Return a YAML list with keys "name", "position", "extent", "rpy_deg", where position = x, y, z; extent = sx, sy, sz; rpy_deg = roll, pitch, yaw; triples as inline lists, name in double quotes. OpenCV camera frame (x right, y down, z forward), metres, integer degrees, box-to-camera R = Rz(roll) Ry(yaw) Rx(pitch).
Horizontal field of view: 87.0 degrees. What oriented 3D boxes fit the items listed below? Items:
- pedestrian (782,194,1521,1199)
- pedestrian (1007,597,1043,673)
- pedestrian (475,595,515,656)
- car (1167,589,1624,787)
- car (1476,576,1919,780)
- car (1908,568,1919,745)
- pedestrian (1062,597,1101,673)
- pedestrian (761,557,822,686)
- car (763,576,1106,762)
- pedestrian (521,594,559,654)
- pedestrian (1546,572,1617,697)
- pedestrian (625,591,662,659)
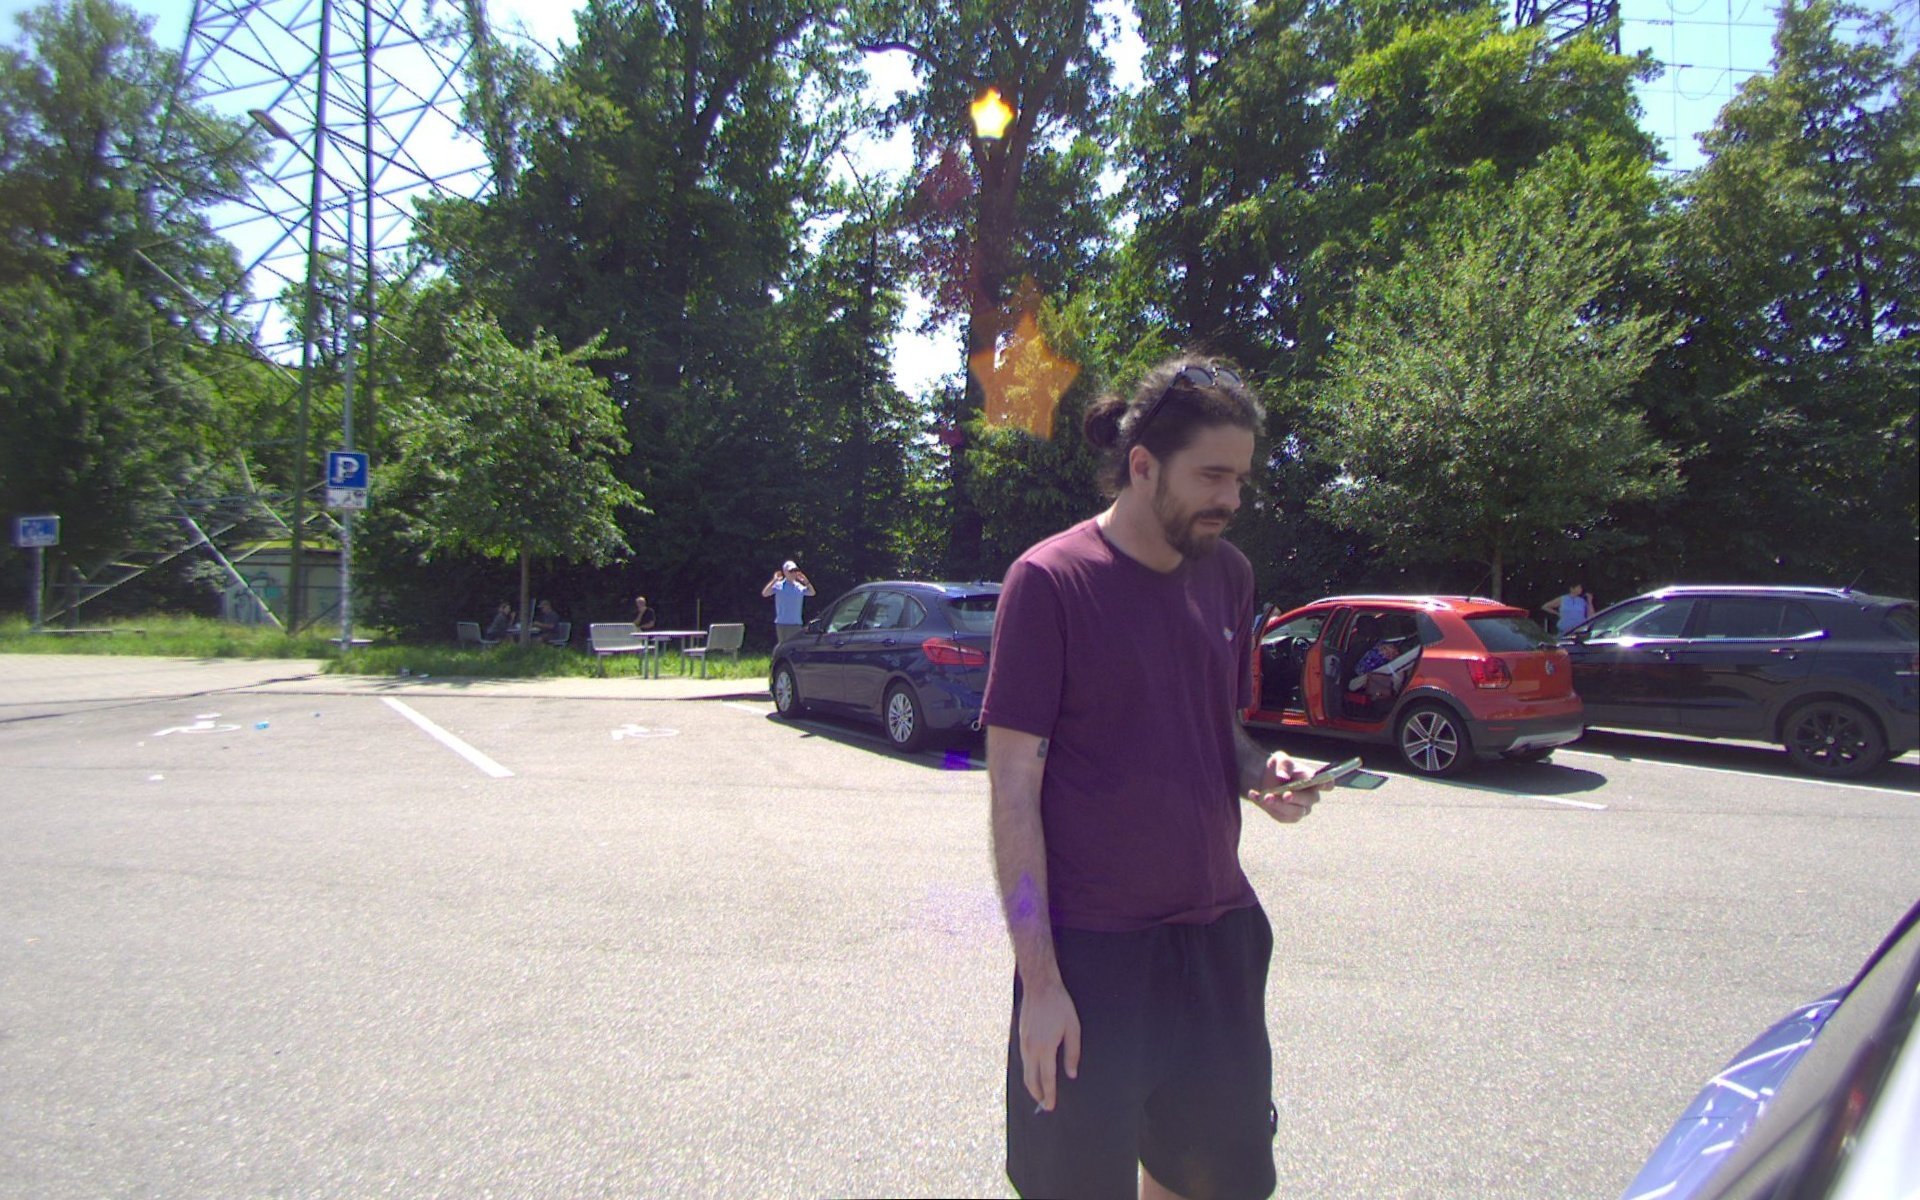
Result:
- name: "pedestrian"
  position: [0.273, 0.485, 1.684]
  extent: [0.845, 1.857, 0.865]
  rpy_deg: [0, 0, -33]
- name: "pedestrian"
  position: [1.091, 0.587, 17.078]
  extent: [0.576, 1.251, 0.697]
  rpy_deg: [0, -1, 1]
- name: "pedestrian"
  position: [-10.494, 0.558, 22.838]
  extent: [0.687, 1.352, 0.563]
  rpy_deg: [0, 0, -40]
- name: "car"
  position: [3.876, 0.647, 9.590]
  extent: [1.559, 1.467, 3.737]
  rpy_deg: [1, 0, -33]
- name: "car"
  position: [7.242, 0.597, 9.705]
  extent: [1.707, 1.607, 3.732]
  rpy_deg: [1, 0, -39]
- name: "car"
  position: [11.461, 0.569, 8.649]
  extent: [1.962, 1.734, 4.617]
  rpy_deg: [0, 1, -35]
- name: "pedestrian"
  position: [2.039, 0.583, 17.012]
  extent: [0.576, 1.251, 0.697]
  rpy_deg: [0, -1, 1]
- name: "pedestrian"
  position: [-2.380, 0.292, 14.231]
  extent: [0.816, 1.754, 0.677]
  rpy_deg: [0, 0, -11]
- name: "car"
  position: [-0.461, 0.560, 10.663]
  extent: [1.776, 1.562, 3.940]
  rpy_deg: [1, 0, -34]
- name: "pedestrian"
  position: [-9.737, 0.547, 23.476]
  extent: [0.687, 1.352, 0.563]
  rpy_deg: [0, 0, -40]
- name: "pedestrian"
  position: [9.391, 0.513, 15.310]
  extent: [0.753, 1.854, 0.519]
  rpy_deg: [0, 0, 10]
- name: "pedestrian"
  position: [-6.665, 0.523, 21.314]
  extent: [0.553, 1.408, 0.700]
  rpy_deg: [0, 0, 2]
